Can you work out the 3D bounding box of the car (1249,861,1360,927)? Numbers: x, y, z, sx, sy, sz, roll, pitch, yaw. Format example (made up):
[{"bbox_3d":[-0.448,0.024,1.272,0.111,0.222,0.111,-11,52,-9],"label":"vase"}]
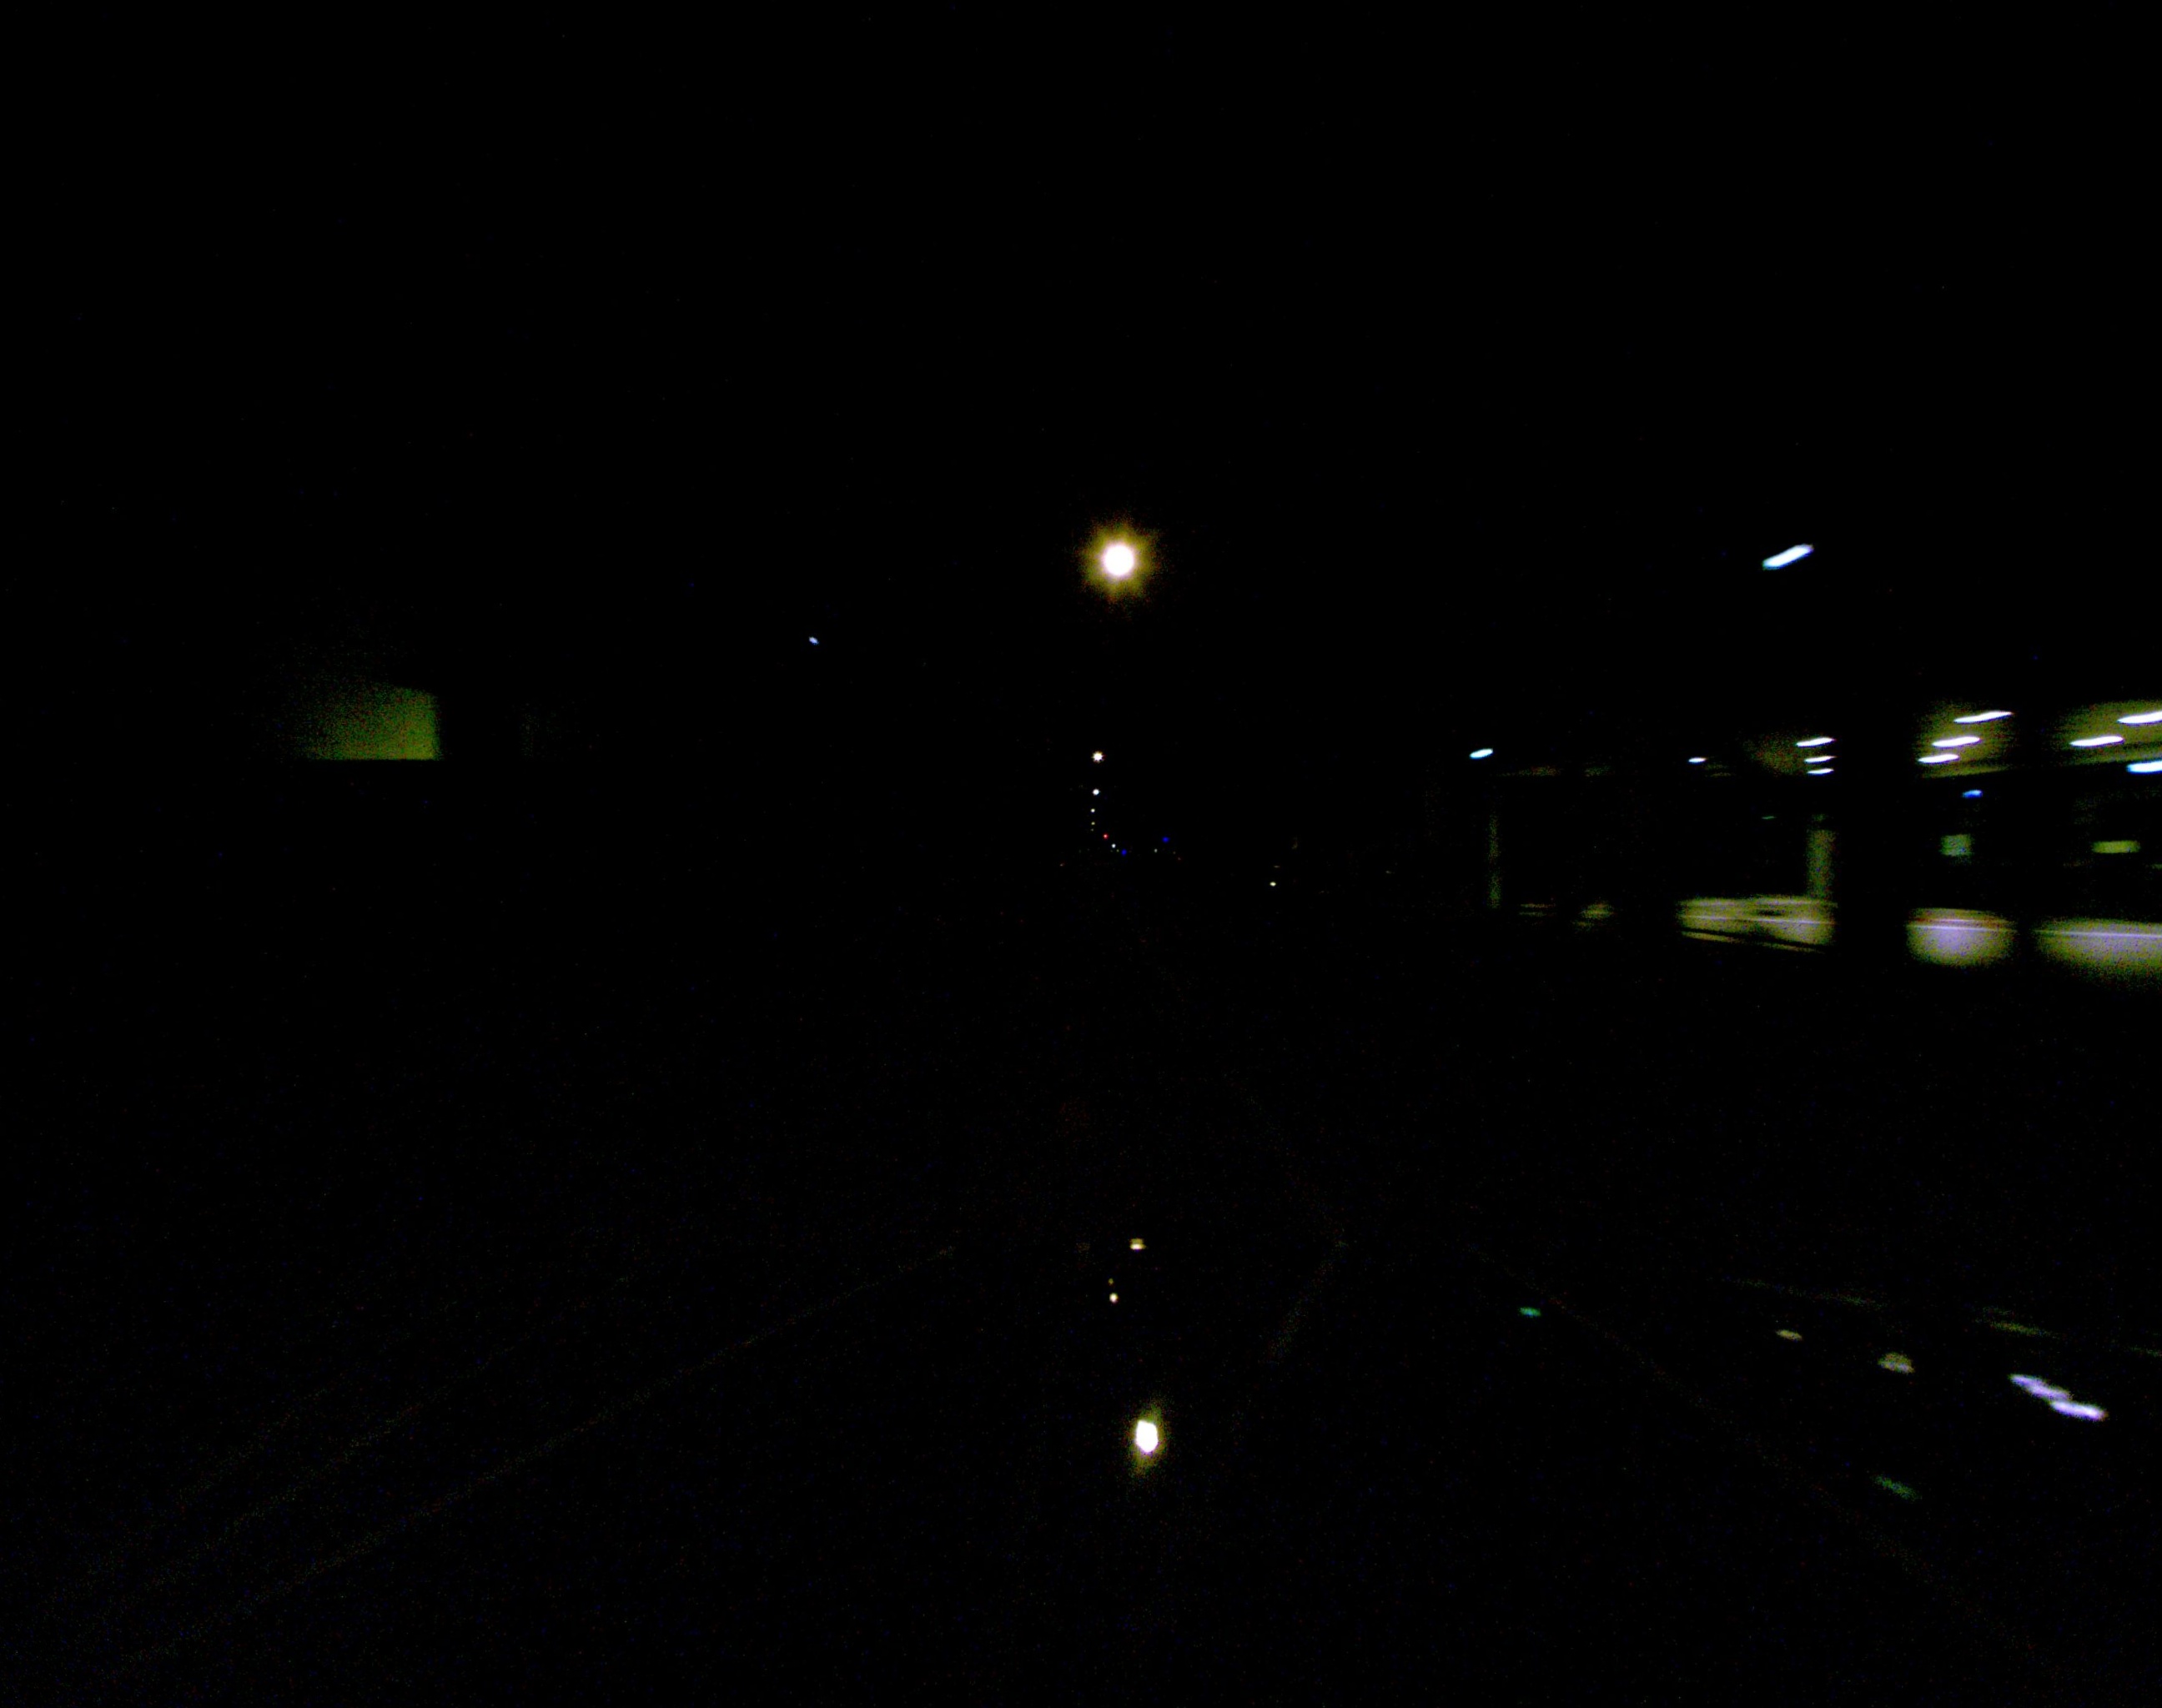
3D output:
[{"bbox_3d":[5.735,0.962,19.974,1.704,1.425,3.828,-4,0,0],"label":"car"}]

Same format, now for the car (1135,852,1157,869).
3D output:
[{"bbox_3d":[6.429,0.619,75.547,1.746,1.597,4.297,-1,0,-1],"label":"car"}]

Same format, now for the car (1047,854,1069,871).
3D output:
[{"bbox_3d":[-2.127,0.784,70.089,1.672,1.420,4.148,2,0,3],"label":"car"}]

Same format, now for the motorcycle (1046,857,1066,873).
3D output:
[{"bbox_3d":[-2.138,0.922,64.340,0.930,1.276,2.230,-1,1,-24],"label":"motorcycle"}]

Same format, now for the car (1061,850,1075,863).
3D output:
[{"bbox_3d":[-1.881,0.356,112.421,1.956,1.952,4.603,-1,0,0],"label":"car"}]

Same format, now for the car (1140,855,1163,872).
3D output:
[{"bbox_3d":[6.483,0.818,70.058,1.709,1.403,4.633,-3,1,0],"label":"car"}]

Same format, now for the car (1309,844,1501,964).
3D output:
[{"bbox_3d":[5.794,0.803,14.232,1.826,1.801,4.210,-4,0,2],"label":"car"}]

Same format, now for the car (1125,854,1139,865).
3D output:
[{"bbox_3d":[6.894,0.715,103.429,1.551,1.447,3.368,-2,0,0],"label":"car"}]

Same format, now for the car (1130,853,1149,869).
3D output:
[{"bbox_3d":[6.194,0.720,80.902,1.746,1.597,4.115,0,1,0],"label":"car"}]

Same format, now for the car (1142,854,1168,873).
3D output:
[{"bbox_3d":[6.295,0.792,65.085,1.721,1.493,4.205,-3,0,0],"label":"car"}]

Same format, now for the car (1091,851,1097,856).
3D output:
[{"bbox_3d":[4.161,-0.268,239.177,1.936,1.646,3.833,0,0,0],"label":"car"}]

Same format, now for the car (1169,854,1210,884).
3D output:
[{"bbox_3d":[5.973,0.787,42.121,1.826,1.589,4.073,-1,0,2],"label":"car"}]

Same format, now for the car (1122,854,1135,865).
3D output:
[{"bbox_3d":[7.060,0.770,114.228,1.646,1.495,3.903,-2,0,0],"label":"car"}]

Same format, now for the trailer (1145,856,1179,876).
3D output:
[{"bbox_3d":[6.036,0.884,57.286,2.115,1.327,5.435,-3,0,2],"label":"trailer"}]

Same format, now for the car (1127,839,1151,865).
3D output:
[{"bbox_3d":[6.599,-0.220,86.756,2.184,2.892,4.909,-2,0,0],"label":"car"}]
